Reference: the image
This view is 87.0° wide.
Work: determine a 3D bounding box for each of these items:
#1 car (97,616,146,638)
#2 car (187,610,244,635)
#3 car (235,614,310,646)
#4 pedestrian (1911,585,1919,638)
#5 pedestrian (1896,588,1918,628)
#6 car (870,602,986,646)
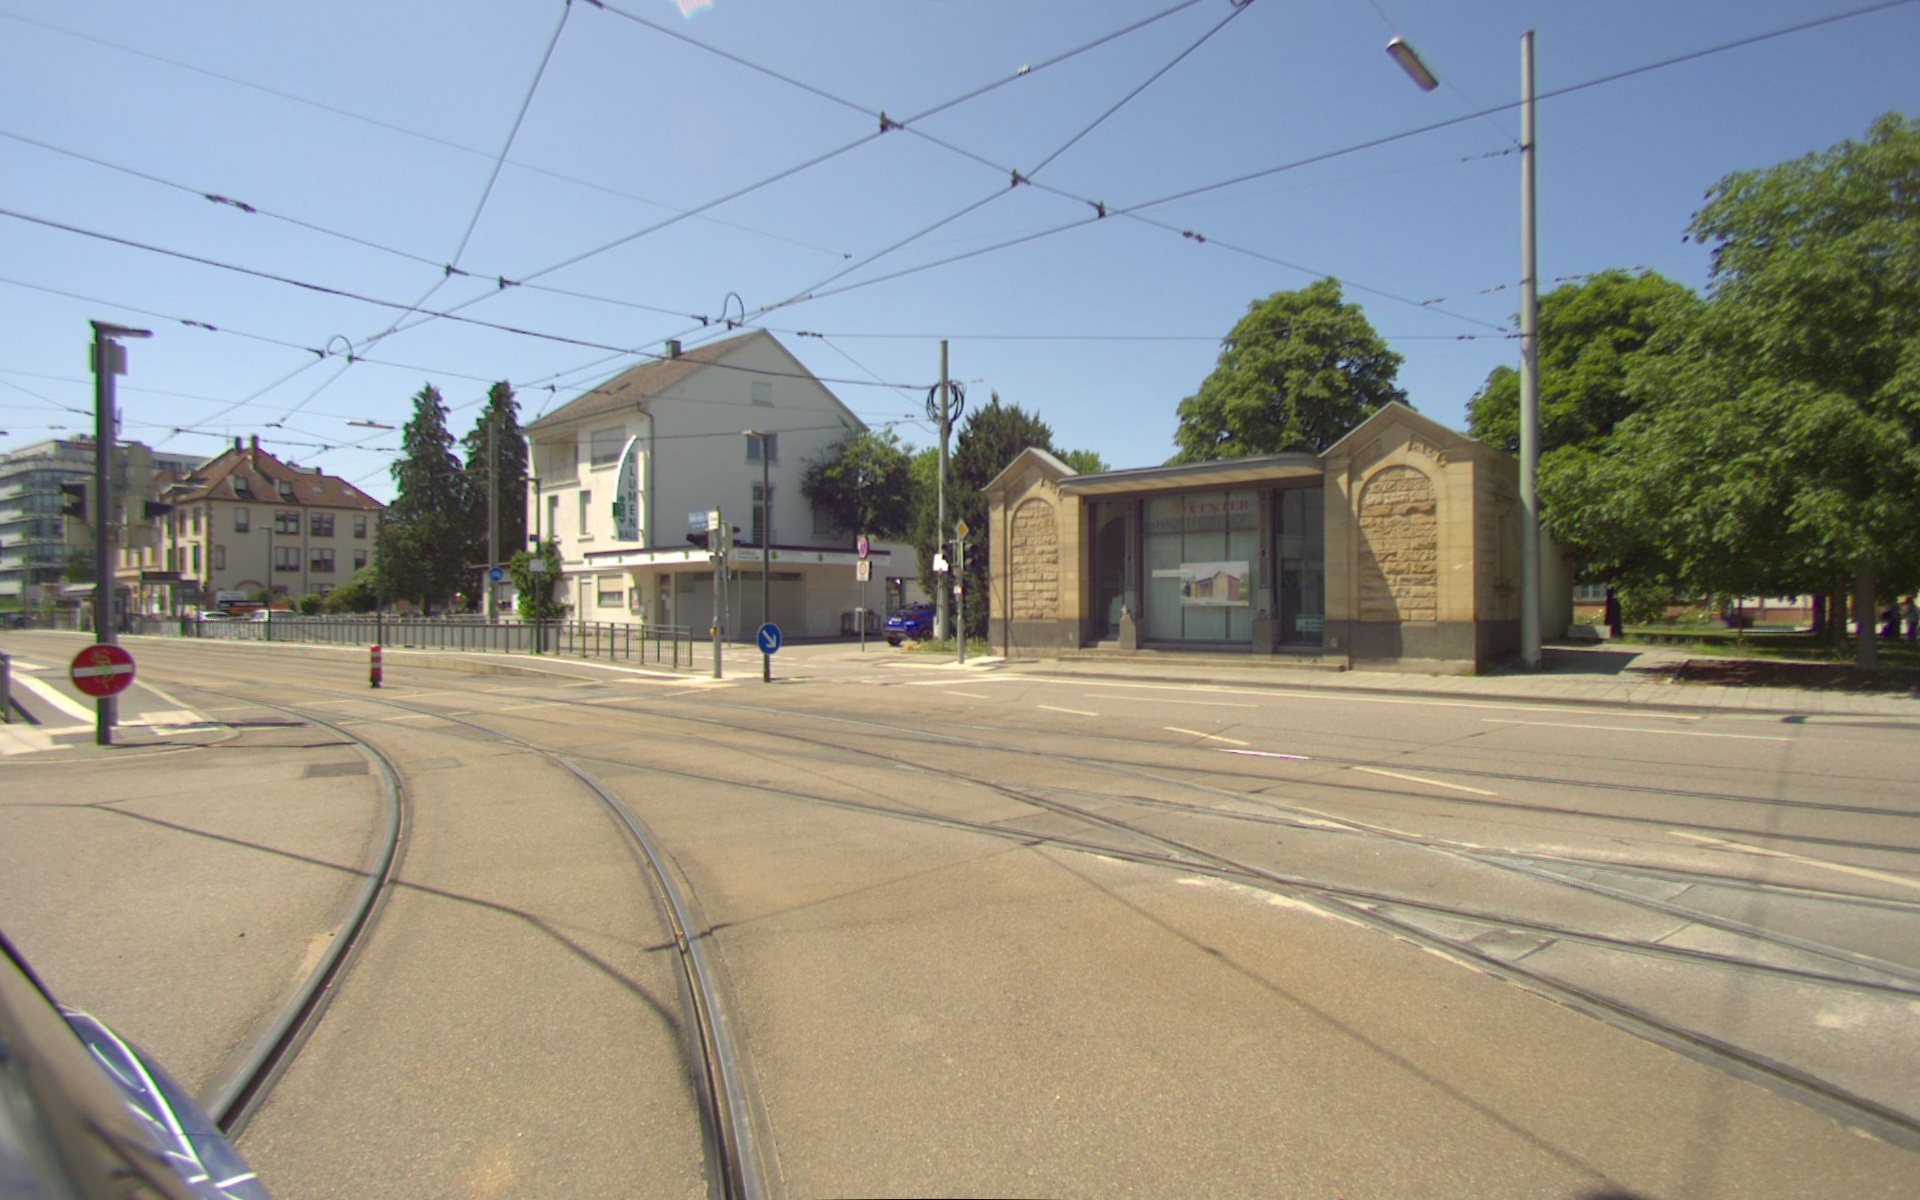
[{"bbox_3d":[-59.117,1.877,71.355,4.473,1.453,1.838,-1,-1,39],"label":"car"},{"bbox_3d":[-42.777,1.302,58.129,4.049,1.373,1.799,-1,-1,41],"label":"car"},{"bbox_3d":[-33.569,1.438,49.394,4.494,1.501,1.800,-1,0,39],"label":"car"},{"bbox_3d":[30.729,0.359,32.138,0.712,1.660,0.521,-2,-1,40],"label":"pedestrian"},{"bbox_3d":[35.905,0.291,38.364,0.531,1.494,0.521,-2,-1,38],"label":"pedestrian"},{"bbox_3d":[-1.090,0.814,35.702,1.825,1.463,3.901,-1,-1,45],"label":"car"}]
